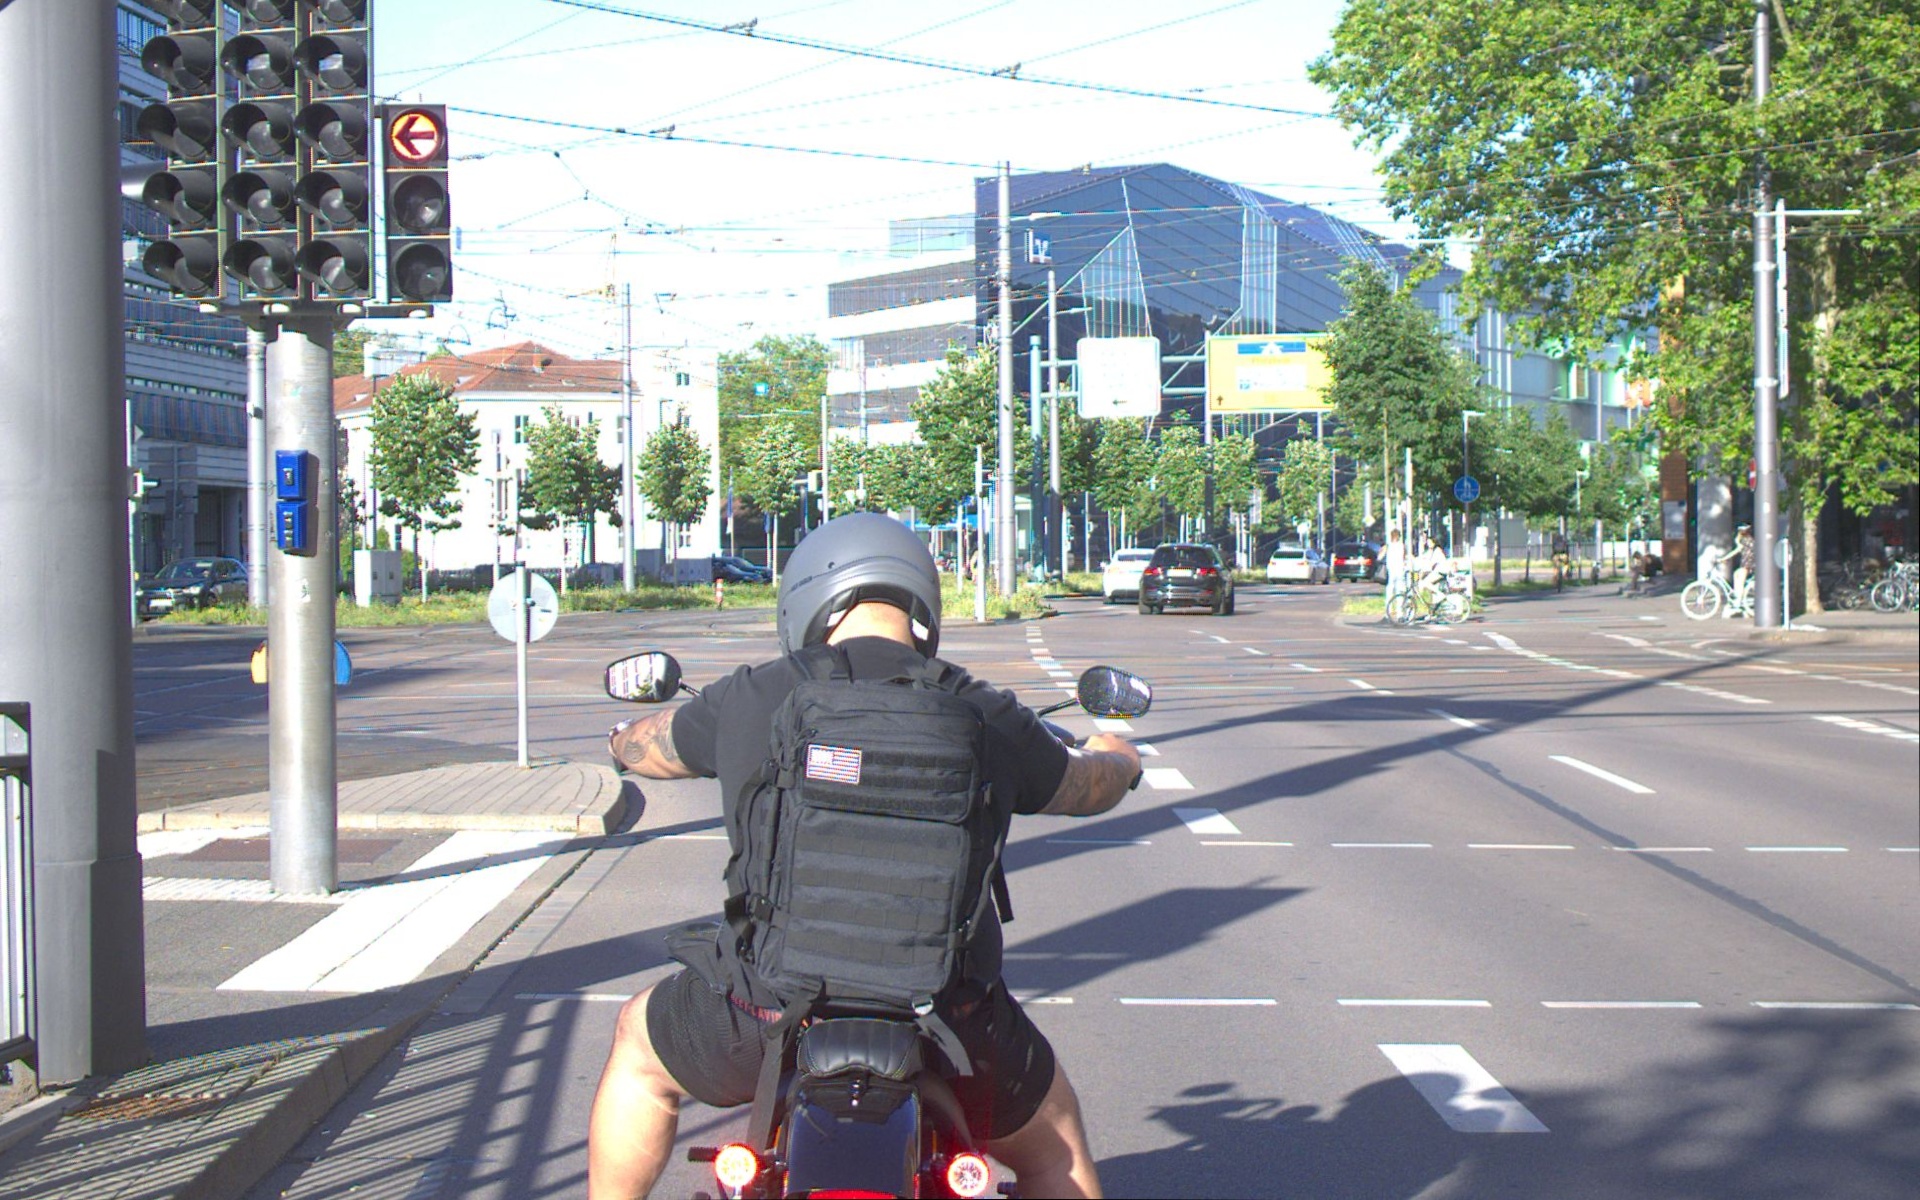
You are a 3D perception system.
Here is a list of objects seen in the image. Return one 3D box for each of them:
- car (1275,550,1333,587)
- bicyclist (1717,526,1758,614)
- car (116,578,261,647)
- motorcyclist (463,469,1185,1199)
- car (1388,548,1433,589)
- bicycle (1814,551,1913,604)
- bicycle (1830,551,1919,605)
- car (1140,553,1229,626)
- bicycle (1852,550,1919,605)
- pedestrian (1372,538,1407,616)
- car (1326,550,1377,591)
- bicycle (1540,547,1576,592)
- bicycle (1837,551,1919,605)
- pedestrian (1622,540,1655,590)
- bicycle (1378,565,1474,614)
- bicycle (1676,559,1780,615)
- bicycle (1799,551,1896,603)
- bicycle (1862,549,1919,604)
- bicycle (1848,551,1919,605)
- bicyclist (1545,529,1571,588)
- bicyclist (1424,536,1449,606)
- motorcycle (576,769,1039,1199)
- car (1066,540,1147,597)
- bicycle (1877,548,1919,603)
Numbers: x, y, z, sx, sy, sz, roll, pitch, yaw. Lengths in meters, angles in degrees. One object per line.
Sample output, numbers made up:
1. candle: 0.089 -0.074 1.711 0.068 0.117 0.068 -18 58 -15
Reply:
1. car: 13.636 -1.256 135.980 1.804 1.425 4.451 0 1 12
2. bicyclist: 14.742 -0.565 65.188 0.688 1.667 0.540 0 0 19
3. car: -17.611 0.281 78.677 1.750 1.519 3.998 1 0 11
4. motorcyclist: -0.198 0.601 5.377 1.030 1.588 0.873 0 1 -1
5. car: 20.479 -1.421 156.204 1.730 1.831 3.573 1 0 12
6. bicycle: 18.260 -0.460 69.503 1.880 1.043 0.360 1 1 -1
7. bicycle: 18.469 -0.447 69.006 1.880 1.043 0.360 1 1 -1
8. car: 5.152 -0.271 78.407 1.804 1.590 4.452 0 1 7
9. bicycle: 18.459 -0.438 67.331 1.880 1.043 0.360 1 0 -1
10. pedestrian: 8.634 -0.466 69.117 0.587 1.551 0.489 1 0 -8
11. car: 16.744 -1.235 146.814 1.804 1.672 4.039 1 0 11
12. bicycle: 18.207 -0.920 104.751 0.726 1.362 2.917 1 0 3
13. bicycle: 18.475 -0.432 68.521 1.880 1.043 0.360 1 0 -1
14. pedestrian: 17.896 -0.914 90.656 0.819 1.309 0.637 1 0 9
15. bicycle: 9.094 -0.211 67.080 1.825 0.922 0.358 1 0 -8
16. bicycle: 14.575 -0.249 65.247 1.872 1.040 0.536 0 0 19
17. bicycle: 18.243 -0.475 70.655 1.880 1.043 0.360 1 1 -1
18. bicycle: 18.438 -0.447 66.516 1.880 1.043 0.360 1 0 -1
19. bicycle: 18.536 -0.428 67.890 1.880 1.043 0.360 1 1 -1
20. bicyclist: 18.231 -1.262 104.832 0.697 1.802 0.728 1 0 4
21. bicyclist: 9.295 -0.567 67.097 0.380 1.368 0.345 1 0 -9
22. motorcycle: -0.217 0.875 5.614 0.600 1.032 2.234 1 1 -1
23. car: 3.845 -0.837 89.723 1.804 1.425 4.452 0 1 6
24. bicycle: 18.535 -0.453 65.735 1.880 1.043 0.360 1 0 -1
